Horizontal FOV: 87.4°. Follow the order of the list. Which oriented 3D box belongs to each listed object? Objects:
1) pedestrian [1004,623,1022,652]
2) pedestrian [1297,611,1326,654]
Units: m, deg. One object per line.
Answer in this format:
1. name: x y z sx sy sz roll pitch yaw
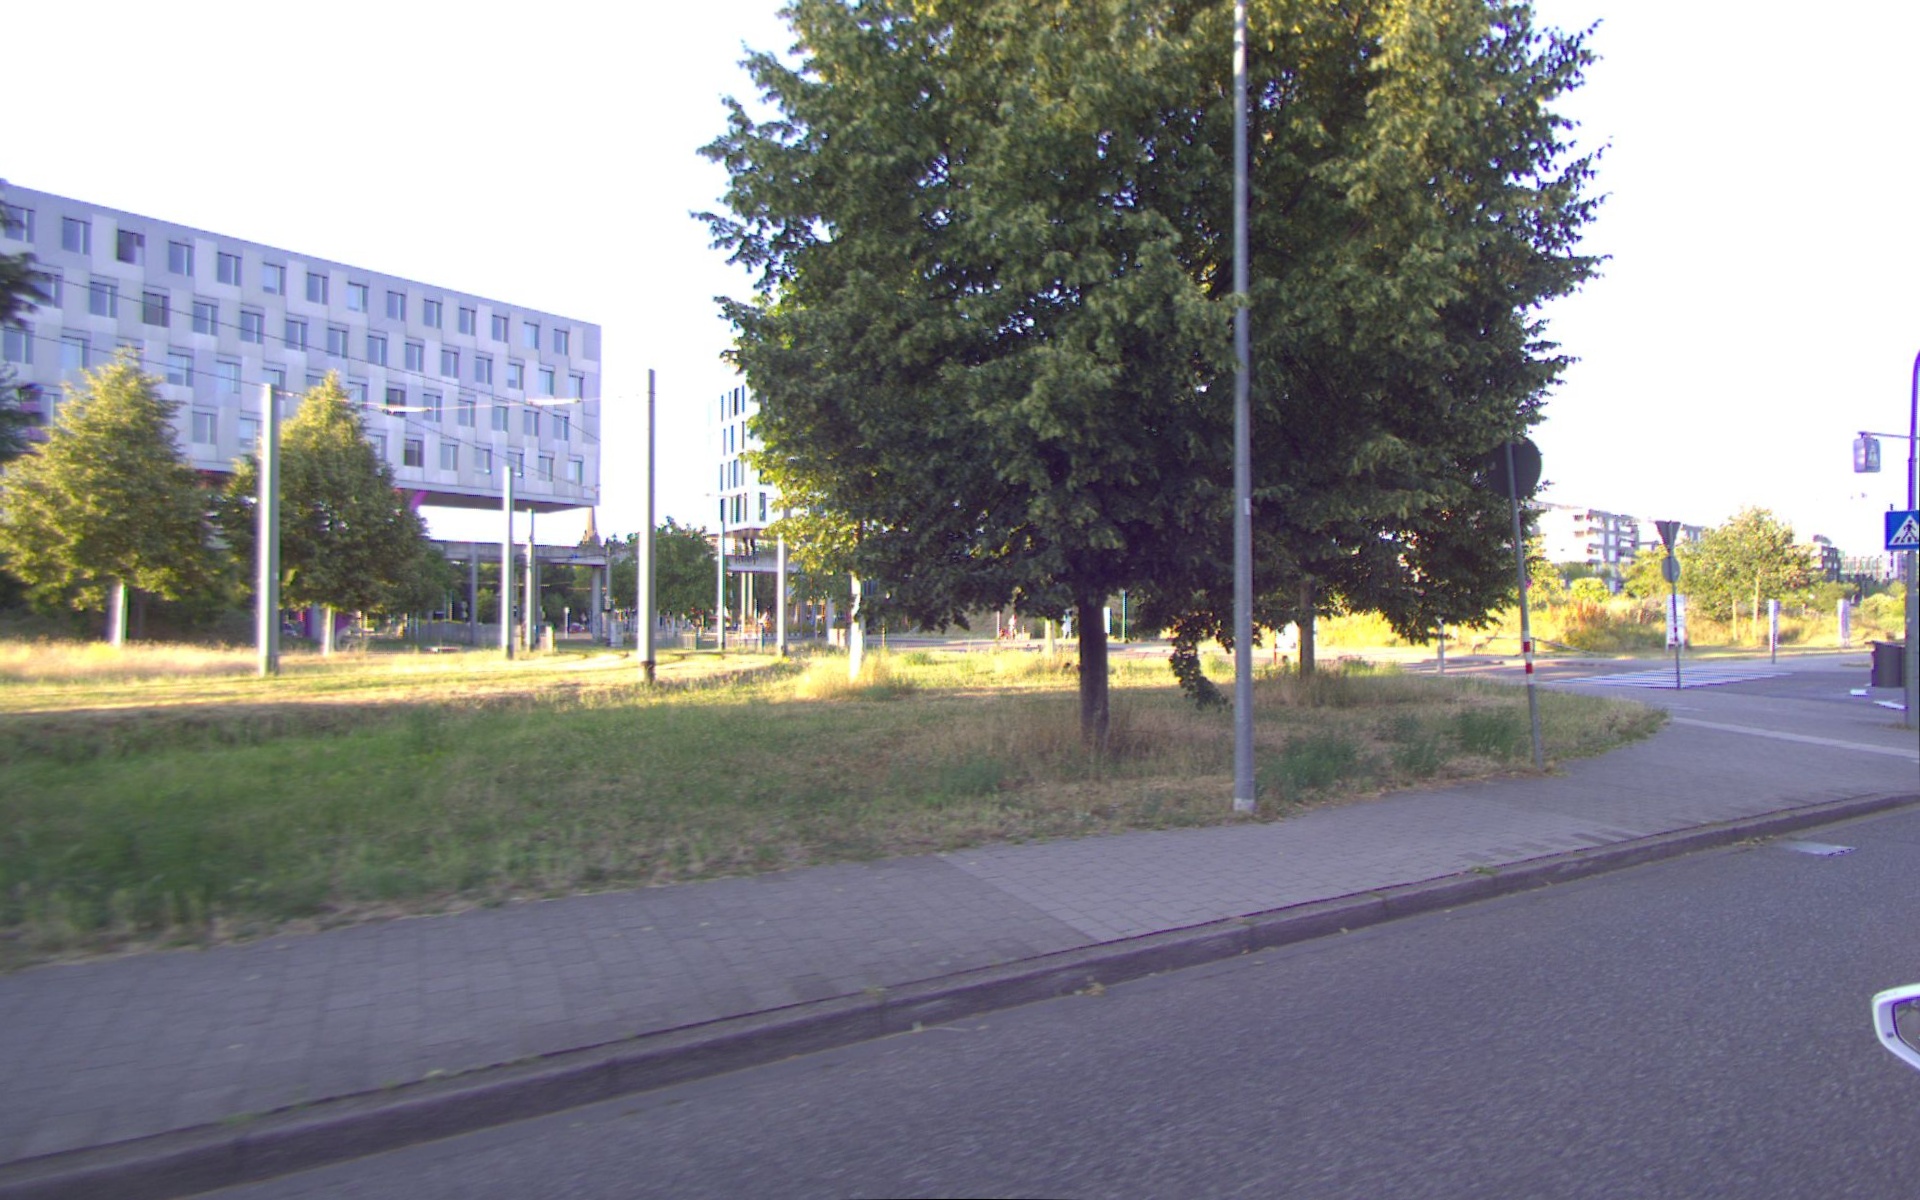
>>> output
1. pedestrian: 3.330 2.342 63.127 0.803 1.810 0.784 1 -1 -27
2. pedestrian: 15.009 1.365 42.877 0.781 1.810 0.861 1 -1 -32
